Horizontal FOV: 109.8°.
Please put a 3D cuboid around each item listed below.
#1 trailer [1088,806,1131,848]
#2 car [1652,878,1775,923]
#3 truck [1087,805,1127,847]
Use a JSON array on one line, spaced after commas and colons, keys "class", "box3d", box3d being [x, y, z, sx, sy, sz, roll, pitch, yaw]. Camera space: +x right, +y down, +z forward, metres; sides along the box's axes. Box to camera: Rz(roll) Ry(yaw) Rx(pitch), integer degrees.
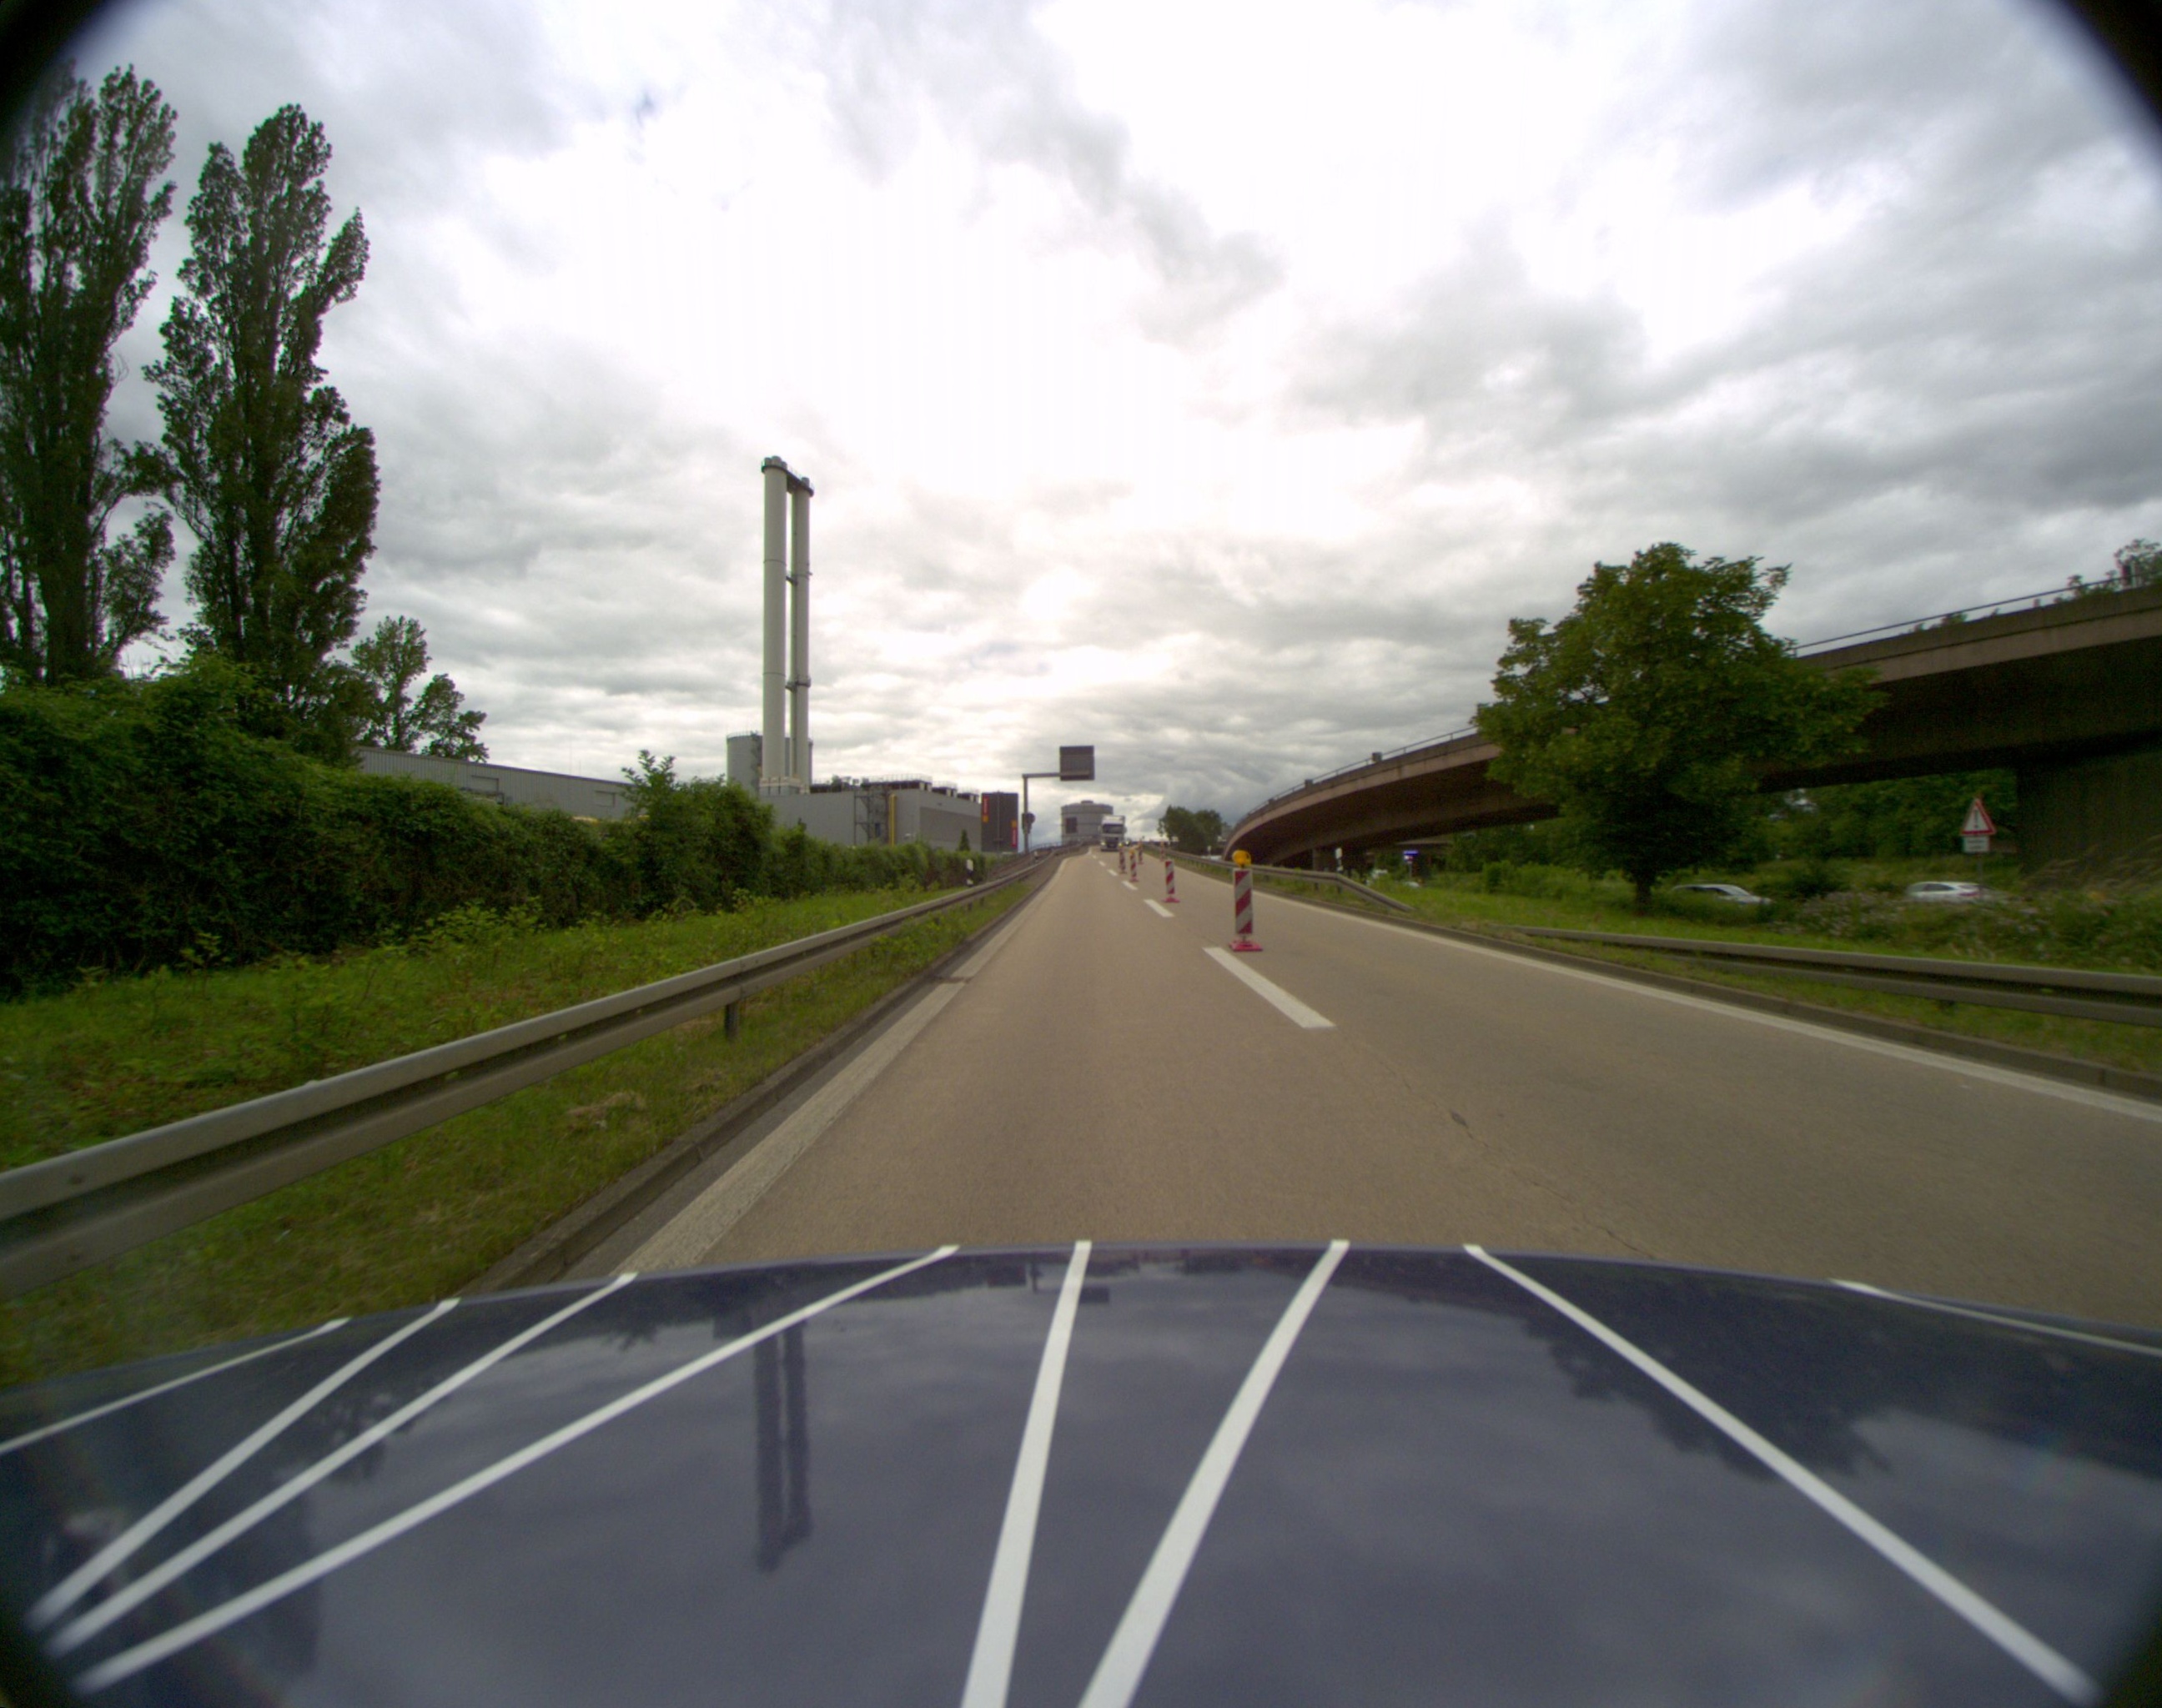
[{"class": "trailer", "box3d": [3.577, -2.972, 90.180, 4.123, 4.219, 13.899, -1, -1, 6]}, {"class": "car", "box3d": [26.084, 1.874, 31.558, 2.041, 1.605, 4.298, -1, -1, 10]}, {"class": "truck", "box3d": [2.942, -3.004, 84.187, 4.163, 4.278, 5.967, -1, -1, 4]}]
